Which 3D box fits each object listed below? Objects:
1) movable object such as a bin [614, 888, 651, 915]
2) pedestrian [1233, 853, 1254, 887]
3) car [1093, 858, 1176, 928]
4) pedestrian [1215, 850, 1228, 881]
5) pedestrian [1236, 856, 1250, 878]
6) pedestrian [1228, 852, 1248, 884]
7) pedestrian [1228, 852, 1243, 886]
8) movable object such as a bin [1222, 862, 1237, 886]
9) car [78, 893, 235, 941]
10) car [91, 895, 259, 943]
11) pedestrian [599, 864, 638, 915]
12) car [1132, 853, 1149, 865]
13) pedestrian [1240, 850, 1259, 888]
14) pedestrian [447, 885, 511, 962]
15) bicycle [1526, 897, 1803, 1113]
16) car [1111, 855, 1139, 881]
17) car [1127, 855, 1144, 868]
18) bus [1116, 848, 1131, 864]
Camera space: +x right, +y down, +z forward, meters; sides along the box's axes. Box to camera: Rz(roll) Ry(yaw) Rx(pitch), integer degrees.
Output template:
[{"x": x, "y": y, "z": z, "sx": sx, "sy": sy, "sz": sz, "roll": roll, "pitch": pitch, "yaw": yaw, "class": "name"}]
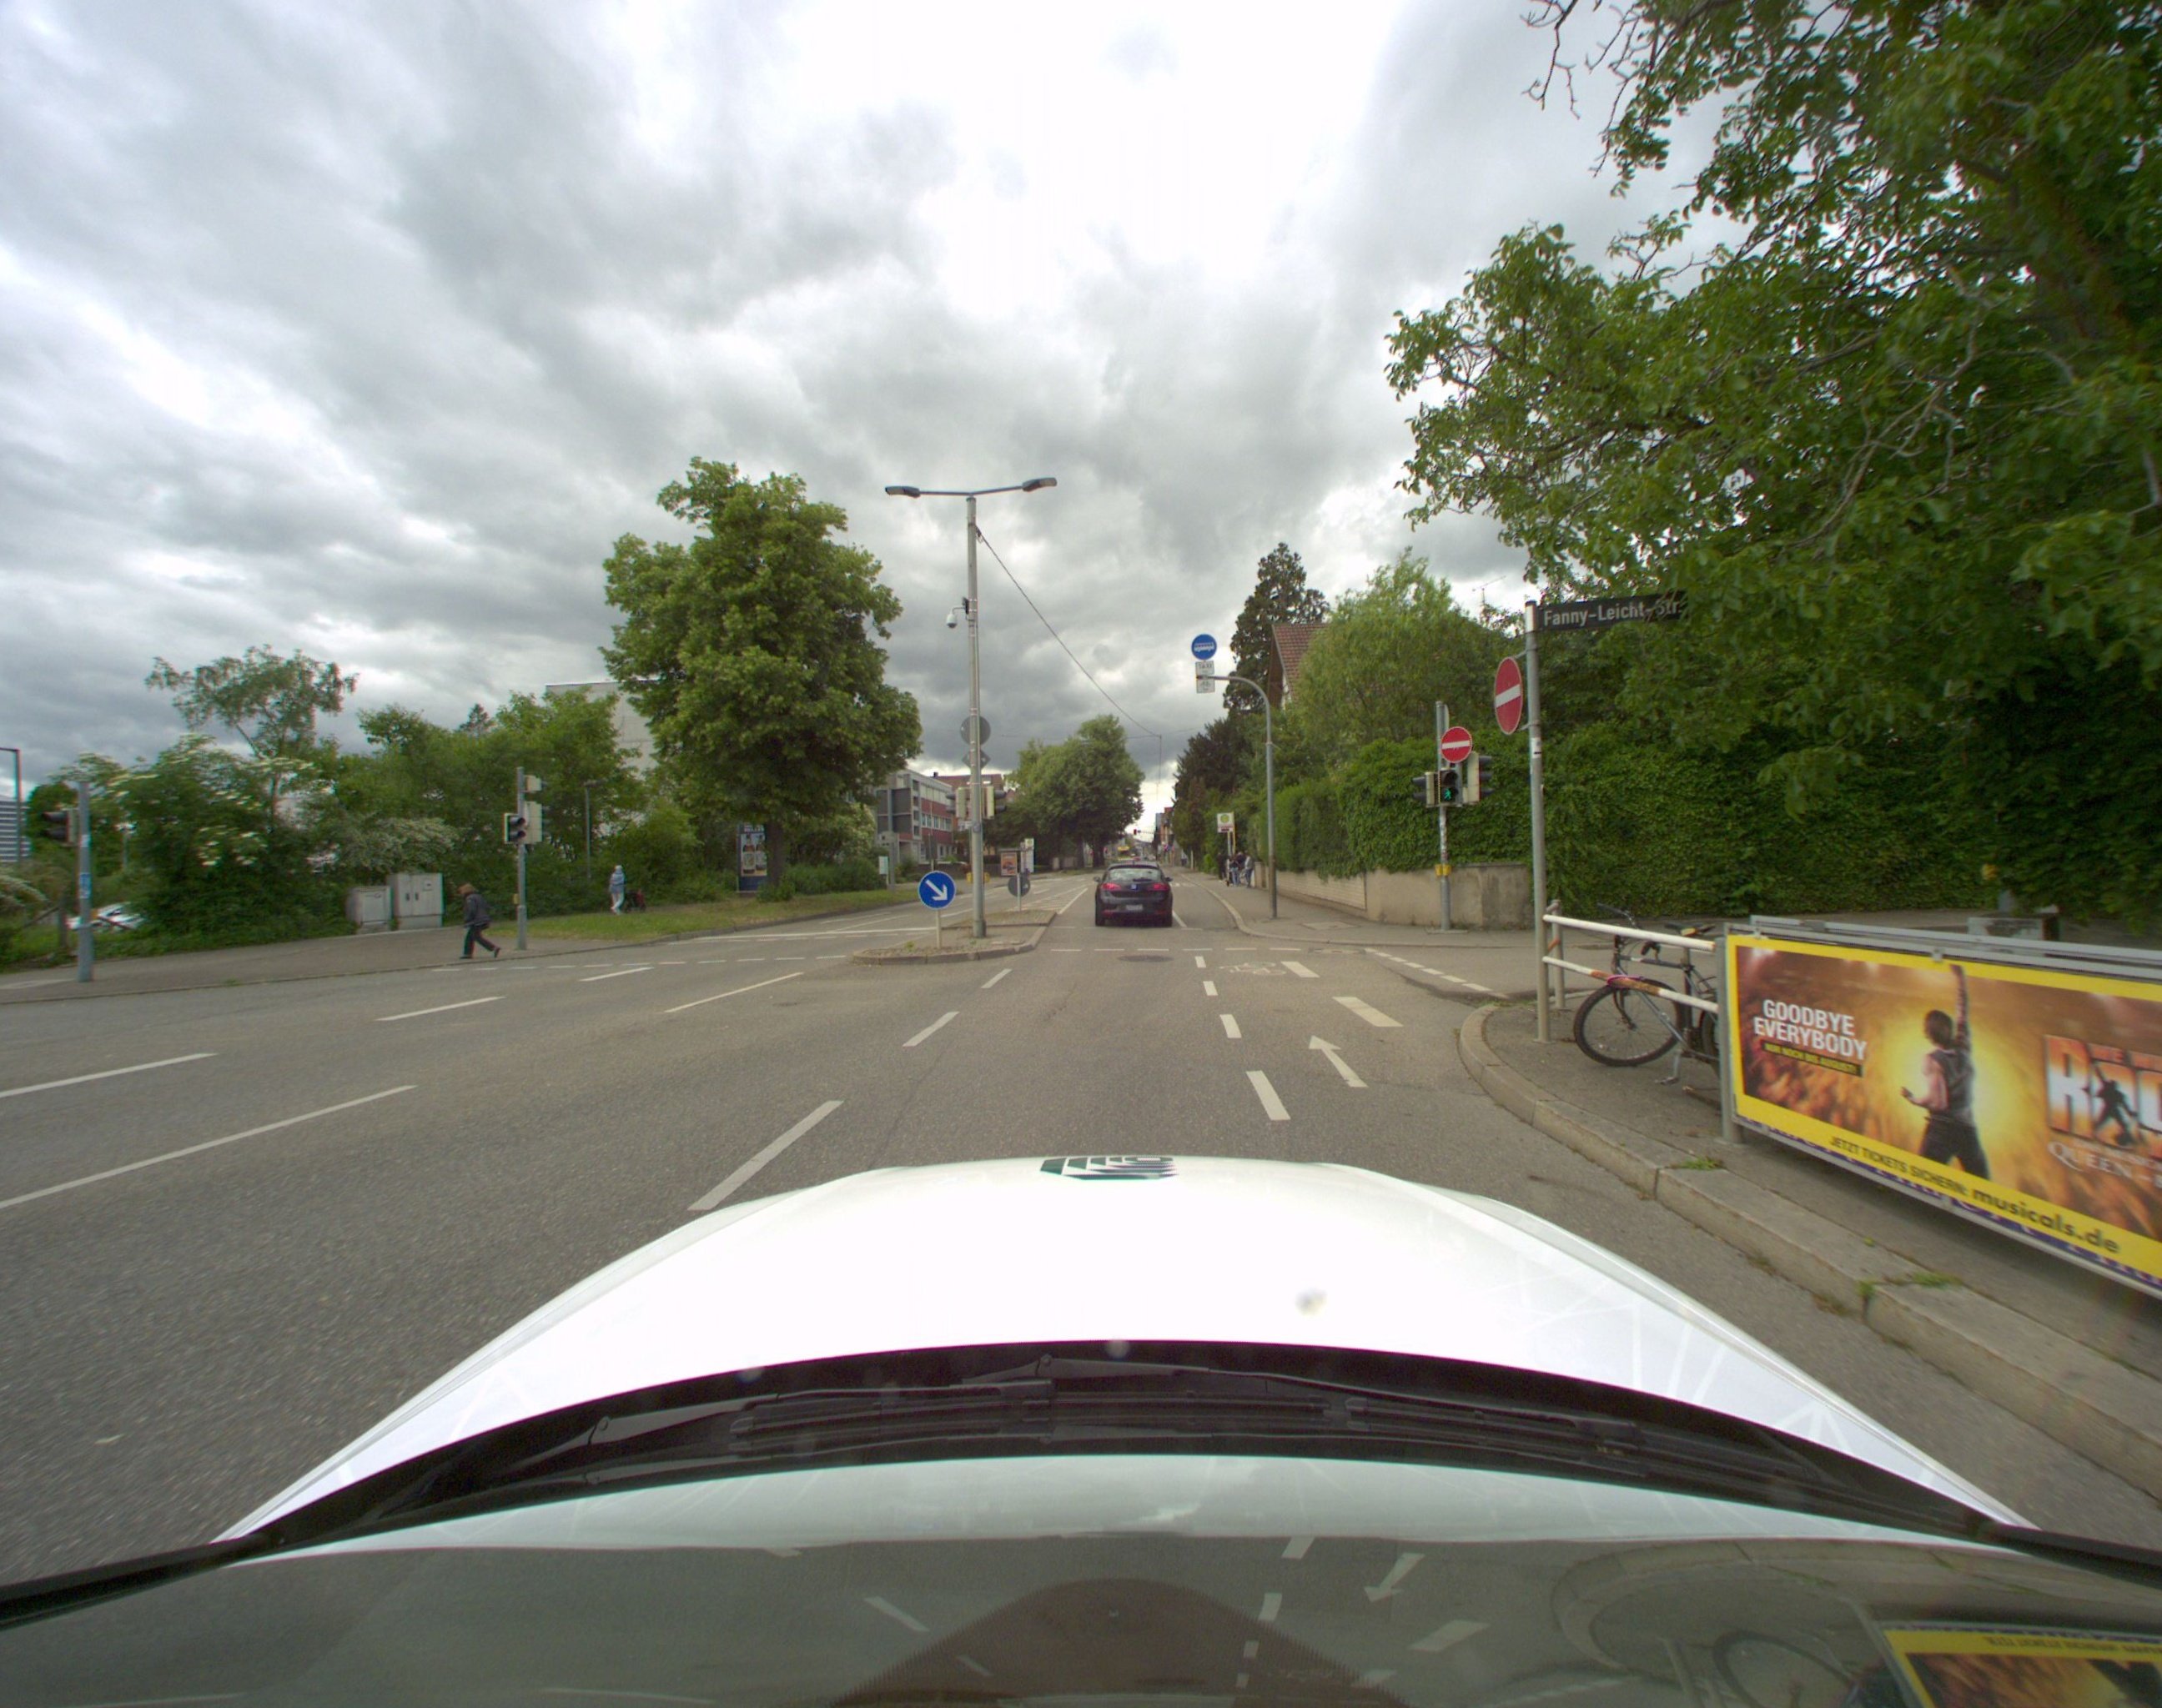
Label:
[{"x": -14.354, "y": 1.500, "z": 26.107, "sx": 0.653, "sy": 0.798, "sz": 0.897, "roll": -2, "pitch": 0, "yaw": 1, "class": "movable object such as a bin"}, {"x": 7.119, "y": 0.692, "z": 35.597, "sx": 0.613, "sy": 1.427, "sz": 0.516, "roll": -5, "pitch": 0, "yaw": 42, "class": "pedestrian"}, {"x": 1.163, "y": 0.840, "z": 19.241, "sx": 1.753, "sy": 1.449, "sz": 3.714, "roll": 0, "pitch": 0, "yaw": 1, "class": "car"}, {"x": 7.826, "y": 0.645, "z": 45.385, "sx": 0.583, "sy": 1.711, "sz": 0.530, "roll": -4, "pitch": -1, "yaw": 3, "class": "pedestrian"}, {"x": 7.440, "y": 0.578, "z": 37.353, "sx": 0.453, "sy": 0.964, "sz": 0.383, "roll": -5, "pitch": 0, "yaw": -2, "class": "pedestrian"}, {"x": 7.518, "y": 0.666, "z": 39.003, "sx": 0.778, "sy": 1.500, "sz": 0.604, "roll": -3, "pitch": -1, "yaw": -2, "class": "pedestrian"}, {"x": 7.059, "y": 0.674, "z": 37.216, "sx": 0.546, "sy": 1.517, "sz": 0.363, "roll": -4, "pitch": 0, "yaw": 13, "class": "pedestrian"}, {"x": 6.927, "y": 0.924, "z": 38.092, "sx": 0.436, "sy": 1.058, "sz": 0.572, "roll": -5, "pitch": 0, "yaw": 30, "class": "movable object such as a bin"}, {"x": -39.289, "y": 2.633, "z": 34.745, "sx": 1.781, "sy": 1.718, "sz": 4.019, "roll": -2, "pitch": 0, "yaw": 19, "class": "car"}, {"x": -35.552, "y": 2.510, "z": 32.113, "sx": 1.781, "sy": 1.554, "sz": 4.019, "roll": -2, "pitch": 0, "yaw": 19, "class": "car"}, {"x": -14.382, "y": 1.095, "z": 25.339, "sx": 0.653, "sy": 1.522, "sz": 0.924, "roll": -2, "pitch": -1, "yaw": 1, "class": "pedestrian"}, {"x": 8.925, "y": 0.738, "z": 122.051, "sx": 1.981, "sy": 1.684, "sz": 4.011, "roll": -2, "pitch": 0, "yaw": 10, "class": "car"}, {"x": 7.059, "y": 0.634, "z": 34.146, "sx": 0.542, "sy": 1.555, "sz": 0.470, "roll": -5, "pitch": 0, "yaw": -5, "class": "pedestrian"}, {"x": -11.692, "y": 1.332, "z": 15.826, "sx": 0.773, "sy": 1.407, "sz": 0.599, "roll": 2, "pitch": 2, "yaw": -9, "class": "pedestrian"}, {"x": 3.428, "y": 0.822, "z": 4.965, "sx": 0.625, "sy": 1.028, "sz": 1.504, "roll": -1, "pitch": 0, "yaw": 2, "class": "bicycle"}, {"x": 3.284, "y": 0.996, "z": 60.084, "sx": 1.810, "sy": 1.699, "sz": 4.259, "roll": -2, "pitch": 0, "yaw": 5, "class": "car"}, {"x": 6.798, "y": 0.877, "z": 101.227, "sx": 1.934, "sy": 1.481, "sz": 4.255, "roll": -2, "pitch": 0, "yaw": 2, "class": "car"}, {"x": 8.526, "y": 0.398, "z": 164.233, "sx": 2.856, "sy": 3.136, "sz": 6.403, "roll": -2, "pitch": 0, "yaw": 3, "class": "bus"}]
